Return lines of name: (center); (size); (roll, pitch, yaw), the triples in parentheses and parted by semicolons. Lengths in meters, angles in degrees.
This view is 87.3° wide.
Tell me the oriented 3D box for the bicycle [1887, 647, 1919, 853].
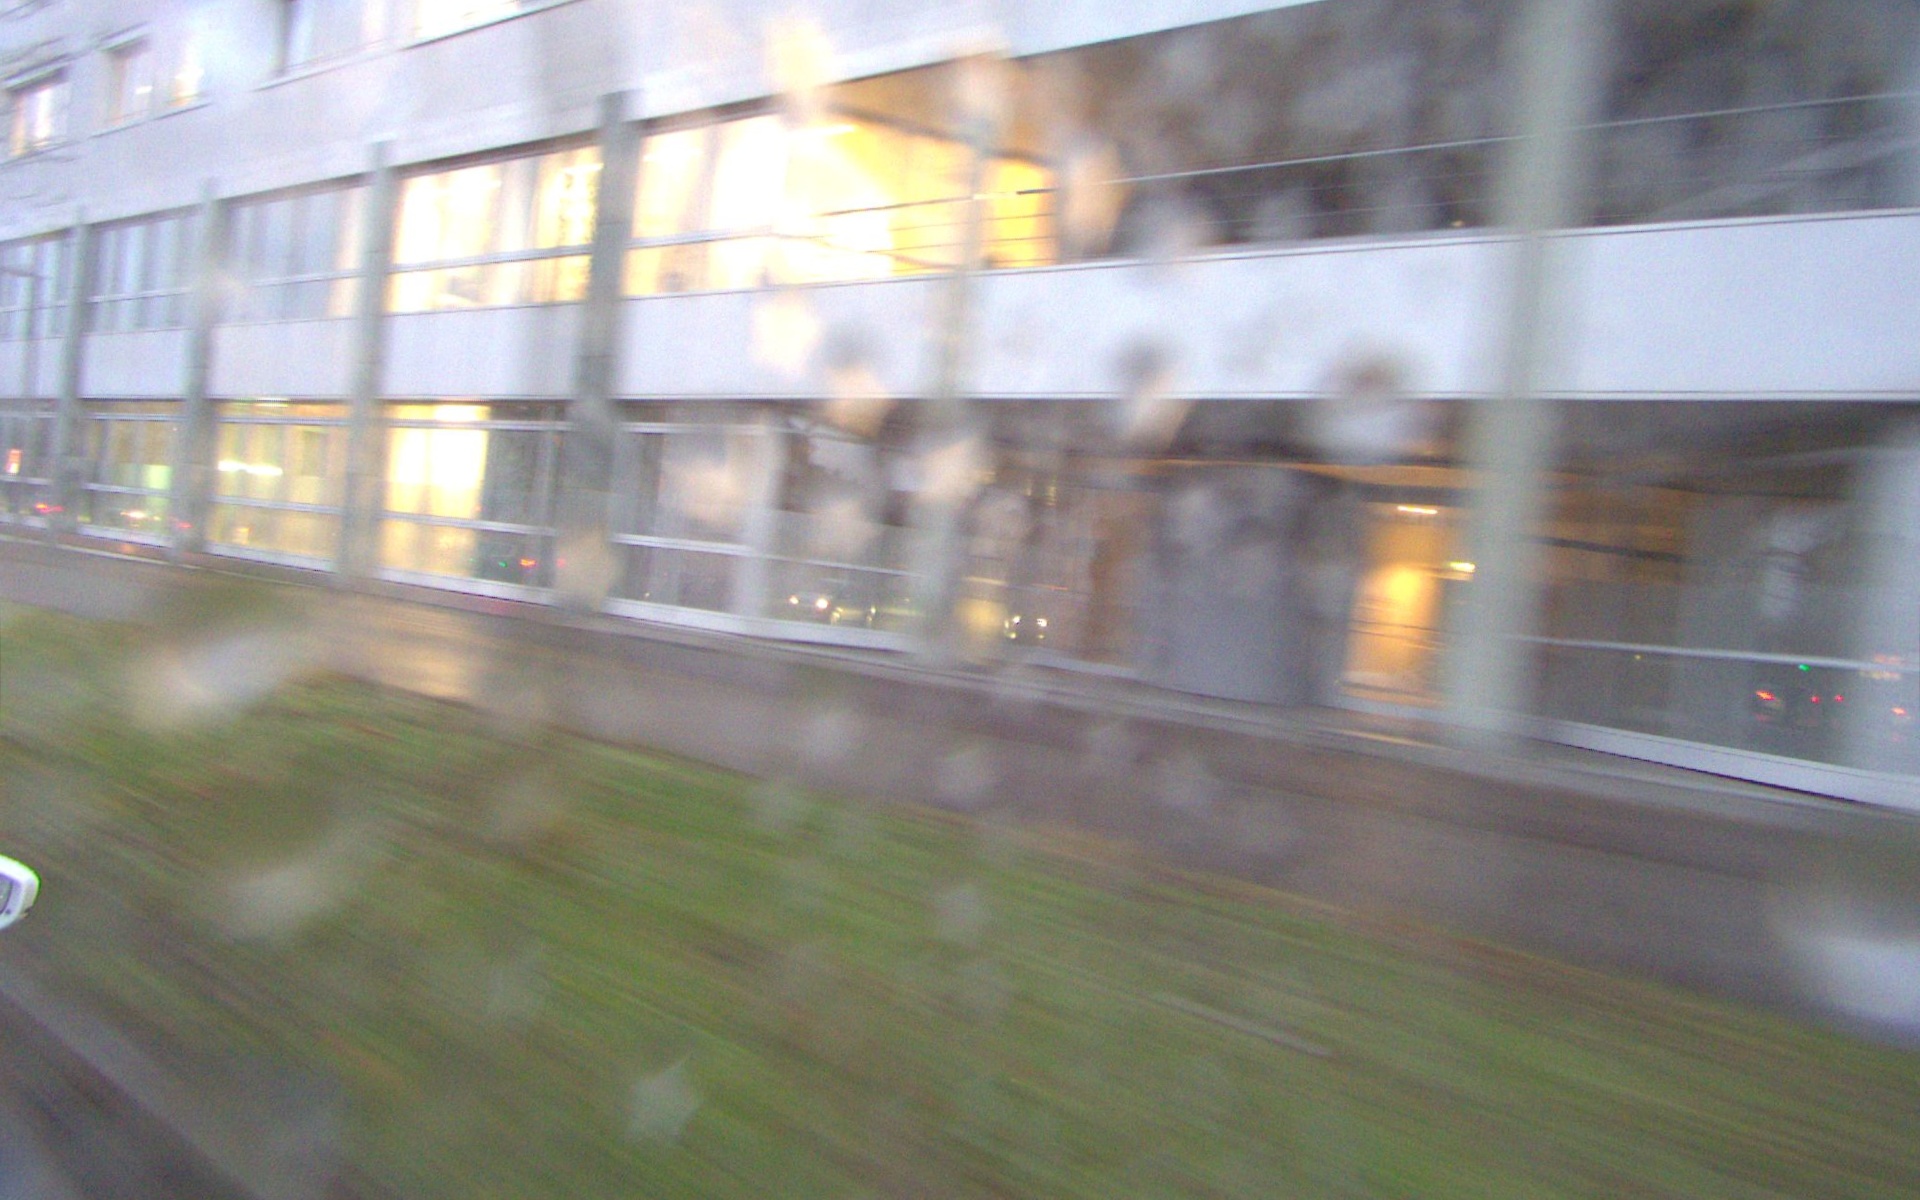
bicycle: (7.176, 1.065, 5.896); (0.819, 1.291, 2.426); (1, 5, -45)
